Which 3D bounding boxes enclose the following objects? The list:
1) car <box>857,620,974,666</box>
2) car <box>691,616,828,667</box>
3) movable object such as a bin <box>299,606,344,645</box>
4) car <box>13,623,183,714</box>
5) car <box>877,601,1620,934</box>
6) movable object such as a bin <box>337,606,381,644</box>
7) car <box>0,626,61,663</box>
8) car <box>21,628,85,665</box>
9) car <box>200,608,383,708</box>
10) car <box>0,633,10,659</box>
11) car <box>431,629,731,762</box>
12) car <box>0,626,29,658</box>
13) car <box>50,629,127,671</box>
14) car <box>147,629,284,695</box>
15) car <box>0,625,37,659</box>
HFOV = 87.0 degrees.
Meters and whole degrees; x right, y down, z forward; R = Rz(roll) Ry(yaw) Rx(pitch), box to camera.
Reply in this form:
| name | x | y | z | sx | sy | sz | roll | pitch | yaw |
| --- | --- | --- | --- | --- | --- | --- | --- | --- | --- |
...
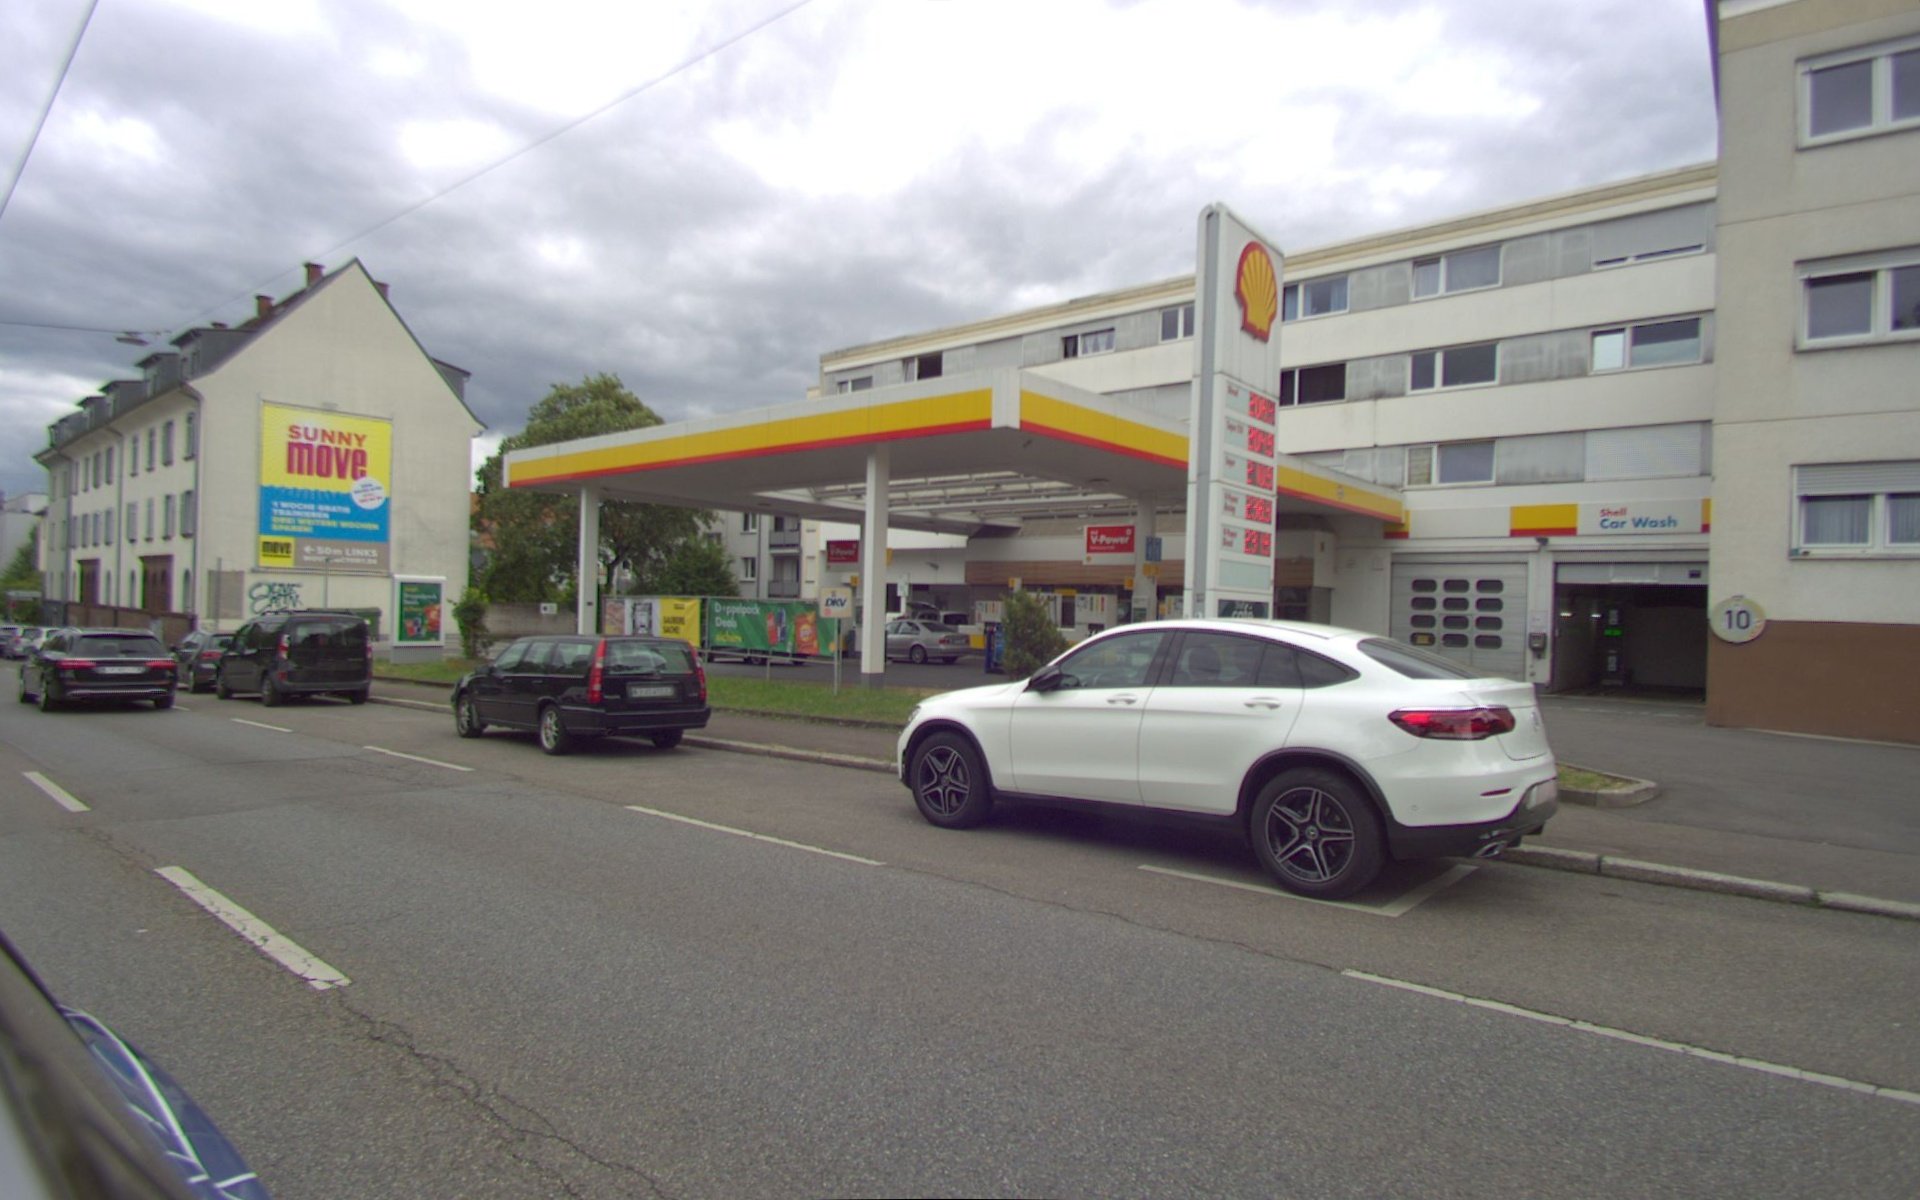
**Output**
| name | x | y | z | sx | sy | sz | roll | pitch | yaw |
| --- | --- | --- | --- | --- | --- | --- | --- | --- | --- |
| car | -1.493 | 1.382 | 33.316 | 3.634 | 1.431 | 1.779 | -2 | -1 | 41 |
| car | -6.165 | 1.240 | 30.874 | 4.415 | 1.431 | 1.779 | -2 | -1 | 41 |
| movable object such as a bin | -26.177 | 1.058 | 41.479 | 1.104 | 1.550 | 1.251 | -2 | -4 | 41 |
| car | -15.923 | 1.185 | 18.612 | 4.497 | 1.477 | 1.759 | -1 | -3 | 42 |
| car | 1.718 | 0.875 | 7.151 | 4.698 | 1.589 | 1.895 | -1 | -3 | 42 |
| movable object such as a bin | -25.235 | 1.076 | 42.515 | 1.104 | 1.550 | 1.251 | -2 | -4 | 41 |
| car | -42.542 | 2.015 | 46.164 | 4.079 | 1.570 | 1.709 | -1 | -5 | 41 |
| car | -38.294 | 1.943 | 42.710 | 3.602 | 1.486 | 1.531 | -2 | -3 | 41 |
| car | -13.907 | 1.155 | 20.939 | 4.697 | 1.849 | 1.833 | -1 | -3 | 40 |
| car | -54.613 | 2.547 | 56.610 | 4.189 | 1.440 | 1.709 | -2 | -3 | 41 |
| car | -5.135 | 1.126 | 13.330 | 4.744 | 1.442 | 1.778 | -2 | -4 | 43 |
| car | -50.374 | 2.188 | 52.963 | 4.640 | 1.634 | 1.826 | -2 | -3 | 40 |
| car | -31.633 | 1.798 | 36.706 | 3.664 | 1.436 | 1.602 | -2 | -3 | 42 |
| car | -18.009 | 1.445 | 24.407 | 4.216 | 1.461 | 1.772 | -2 | -3 | 41 |
| car | -46.374 | 2.027 | 49.284 | 4.502 | 1.611 | 1.708 | -2 | -3 | 43 |
